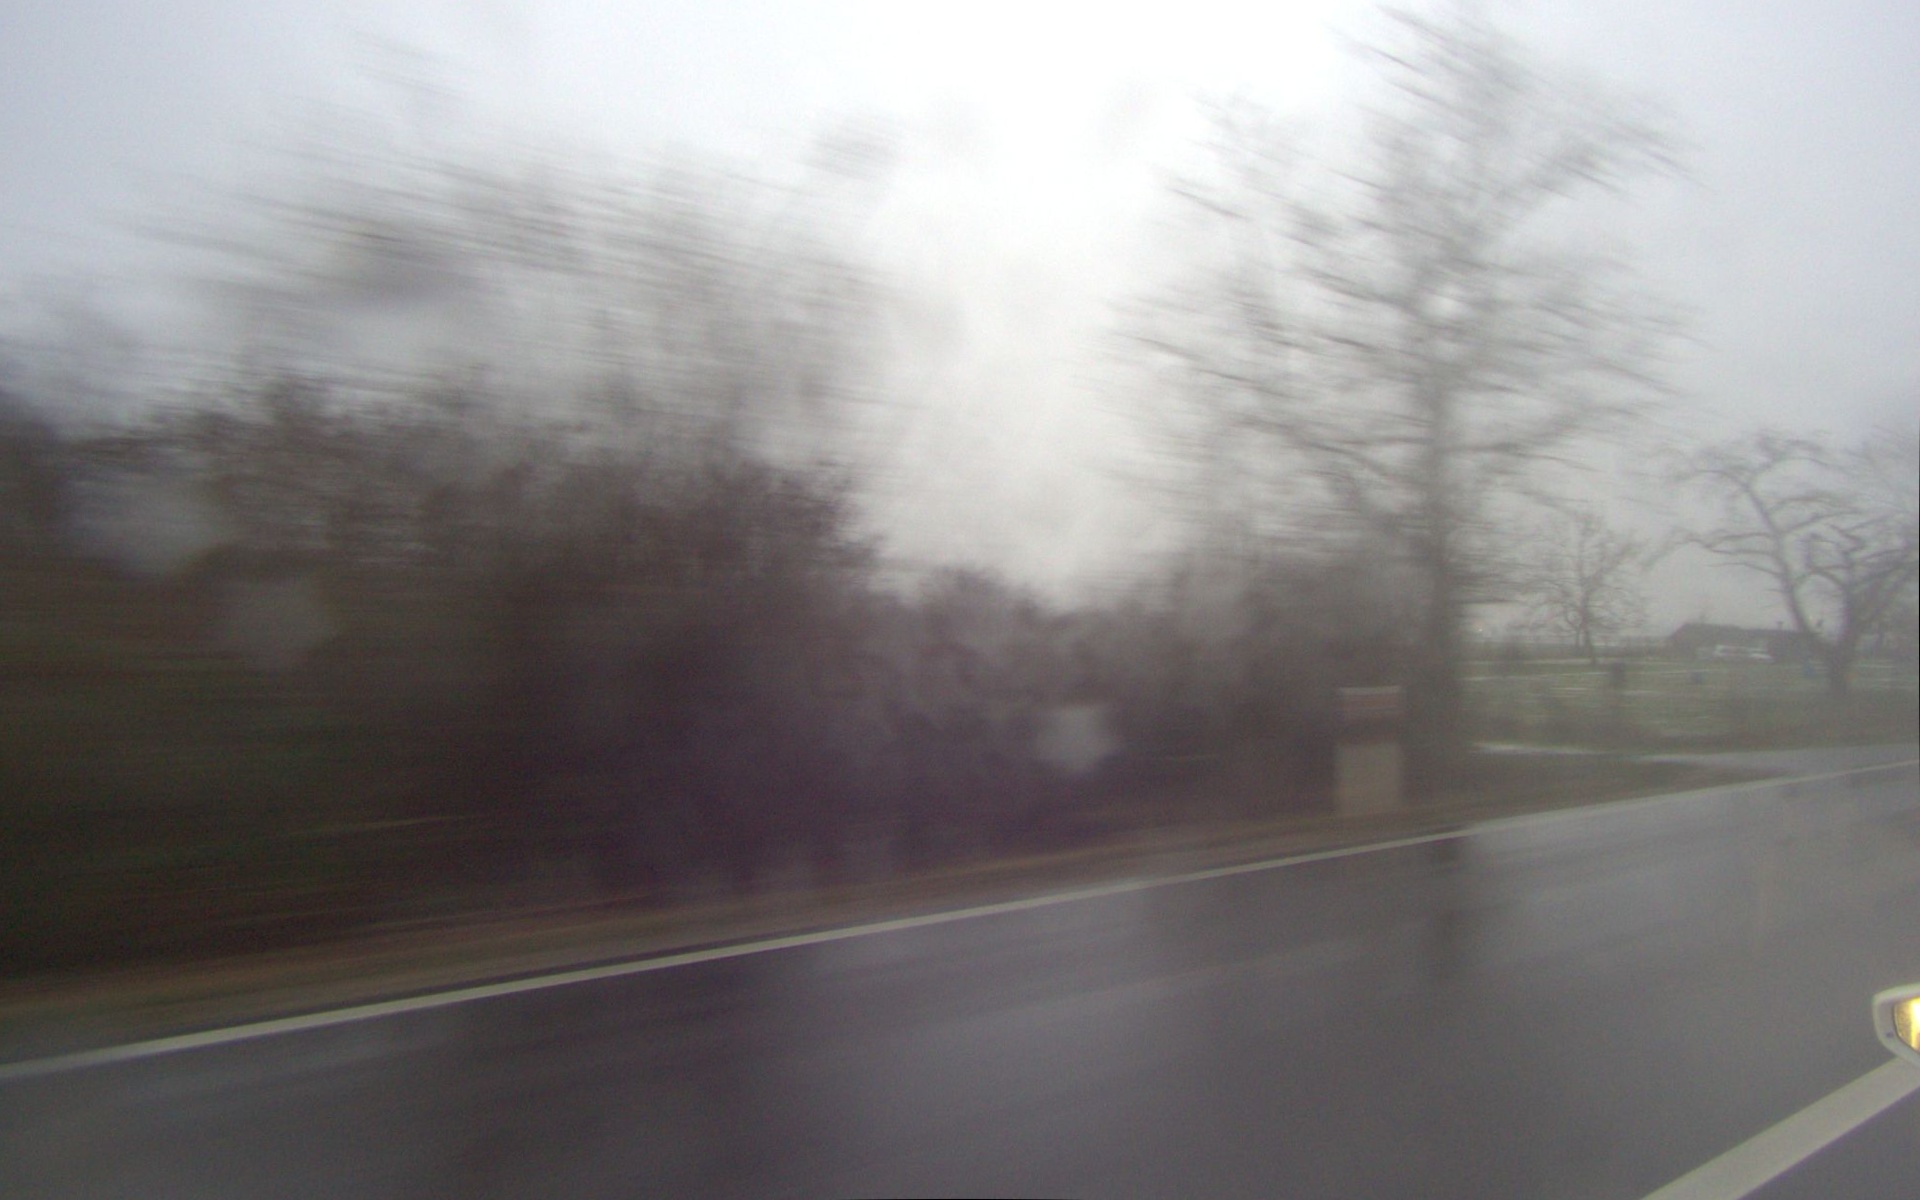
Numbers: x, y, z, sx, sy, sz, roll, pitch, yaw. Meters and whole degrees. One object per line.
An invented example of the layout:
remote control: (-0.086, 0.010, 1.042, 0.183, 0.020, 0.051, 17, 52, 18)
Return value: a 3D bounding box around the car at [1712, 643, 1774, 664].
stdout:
car: (58.155, 3.978, 74.612, 1.588, 1.360, 3.407, 2, 0, -44)
